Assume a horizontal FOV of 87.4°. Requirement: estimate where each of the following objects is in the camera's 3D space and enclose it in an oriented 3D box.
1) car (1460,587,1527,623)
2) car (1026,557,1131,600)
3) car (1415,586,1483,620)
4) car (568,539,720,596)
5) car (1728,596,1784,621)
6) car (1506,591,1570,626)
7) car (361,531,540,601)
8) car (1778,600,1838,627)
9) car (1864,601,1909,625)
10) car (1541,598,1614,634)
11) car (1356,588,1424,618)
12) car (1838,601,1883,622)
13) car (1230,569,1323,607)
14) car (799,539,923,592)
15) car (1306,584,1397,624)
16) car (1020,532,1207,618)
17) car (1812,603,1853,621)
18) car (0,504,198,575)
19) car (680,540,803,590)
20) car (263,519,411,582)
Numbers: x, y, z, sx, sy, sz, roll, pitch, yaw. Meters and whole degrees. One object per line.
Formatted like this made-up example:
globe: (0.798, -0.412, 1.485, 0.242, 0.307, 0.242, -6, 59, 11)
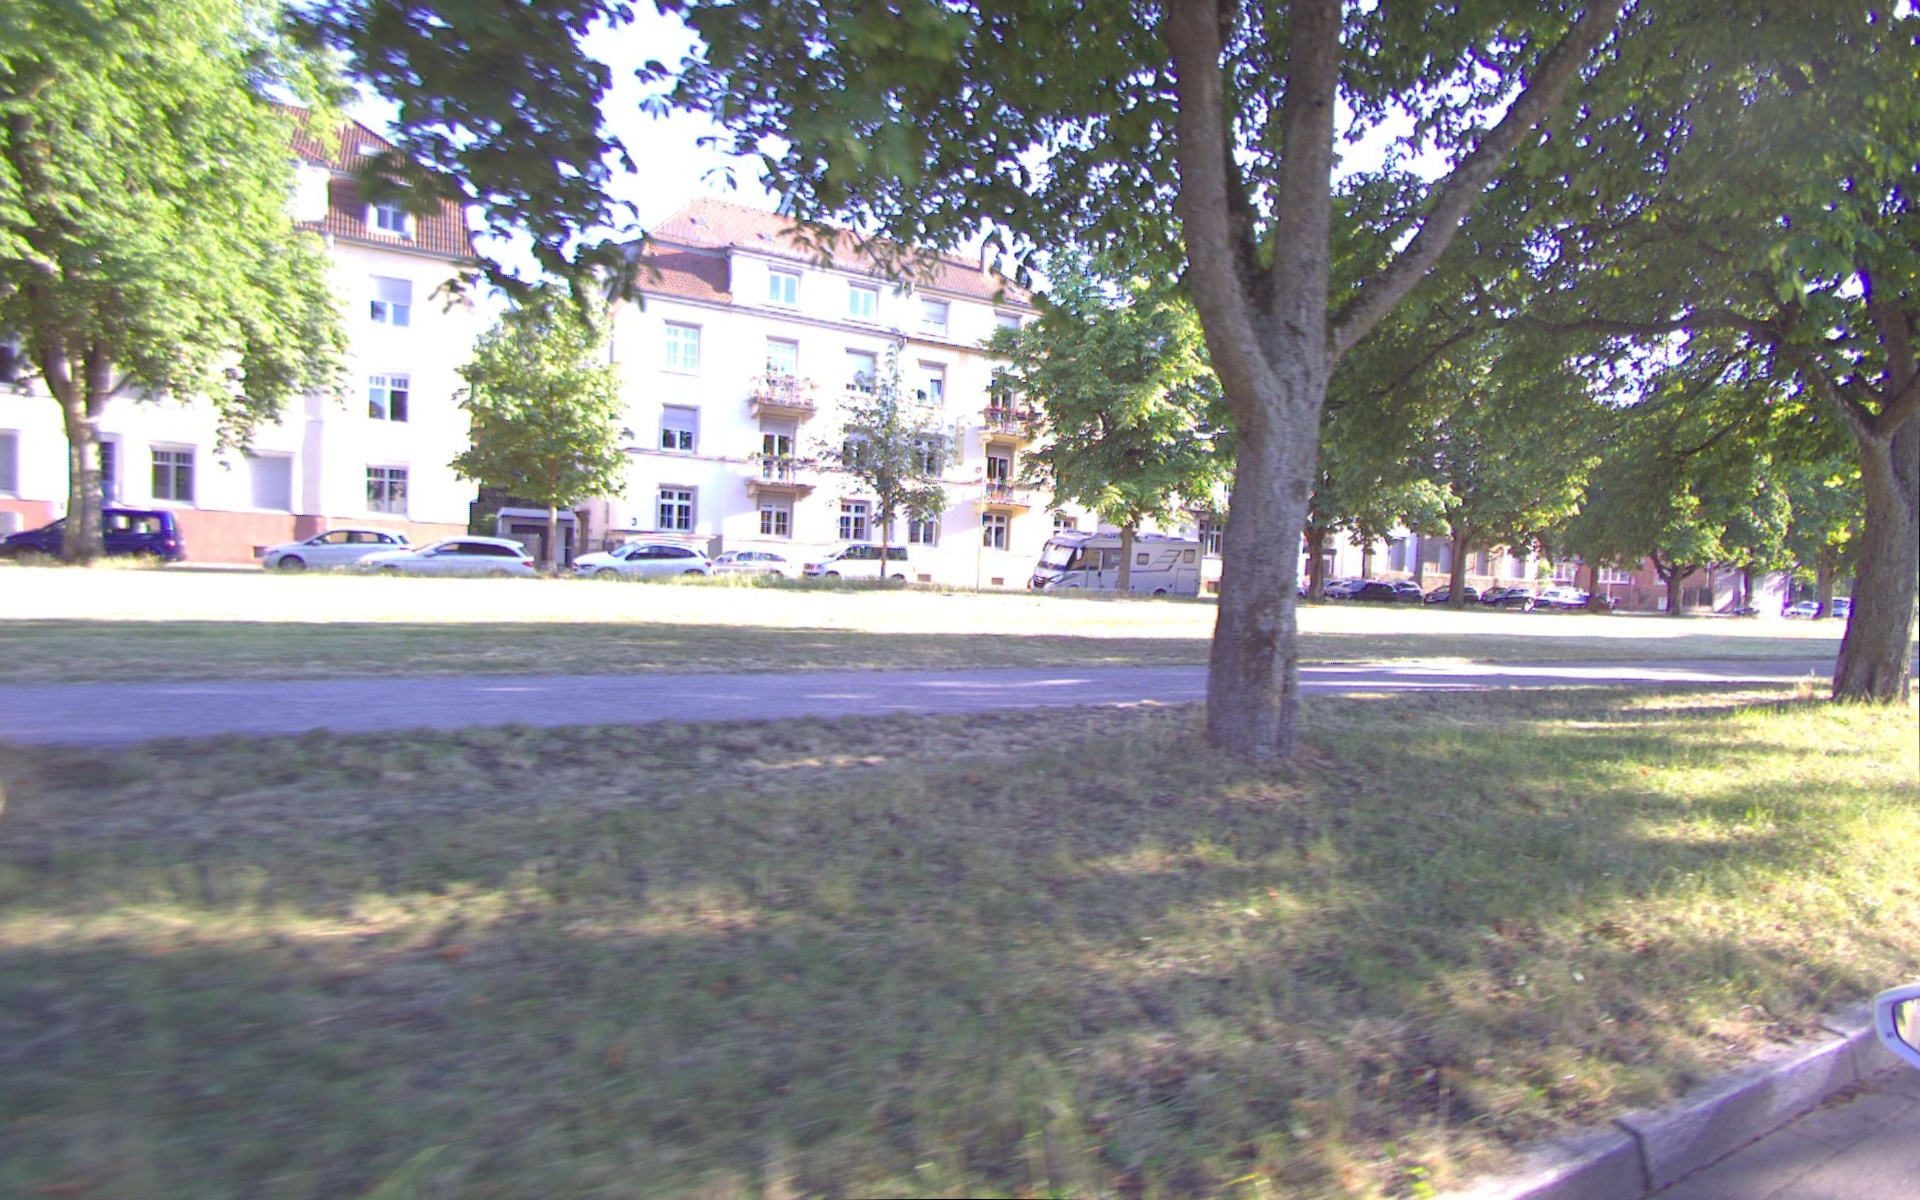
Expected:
car: (34.809, 0.346, 65.525, 3.955, 2.041, 1.983, 2, 4, -32)
car: (5.635, -1.010, 47.728, 4.514, 1.681, 1.985, 3, 4, -29)
car: (30.615, 0.212, 62.867, 3.870, 1.827, 1.855, 2, 4, -30)
car: (-10.193, -1.033, 32.464, 4.369, 1.575, 1.786, 1, 5, -32)
car: (65.553, 0.710, 82.712, 4.302, 1.681, 1.985, 3, 4, -29)
car: (39.263, 0.597, 68.242, 3.955, 2.041, 1.983, 2, 4, -32)
car: (-14.958, -0.999, 29.627, 4.514, 1.681, 1.985, 3, 4, -29)
car: (63.390, 1.008, 75.079, 3.936, 1.681, 2.013, 3, 4, -30)
car: (79.199, 1.136, 85.846, 3.836, 1.712, 1.718, 4, 4, -32)
car: (36.953, 0.956, 60.096, 4.073, 1.805, 1.803, 3, 4, -29)
car: (25.693, 0.193, 59.971, 3.748, 1.604, 1.749, 1, 5, -31)
car: (85.262, 1.108, 95.104, 3.955, 1.640, 1.983, 2, 4, -32)
car: (17.527, -0.652, 55.578, 5.103, 1.712, 1.982, 2, 4, -32)
car: (-4.196, -1.453, 42.682, 4.822, 1.976, 1.983, 2, 3, -31)
car: (19.485, 0.205, 49.964, 4.264, 1.696, 1.870, 3, 4, -30)
car: (6.516, -1.010, 42.164, 7.759, 3.173, 2.380, 1, 5, -30)
car: (79.232, 1.105, 91.249, 3.430, 1.360, 1.674, 3, 4, -30)
car: (-25.848, -1.804, 30.273, 4.259, 1.759, 1.985, 3, 4, -29)
car: (-8.656, -1.369, 39.864, 4.422, 1.663, 1.833, 2, 5, -30)
car: (-20.382, -1.624, 33.083, 3.951, 1.681, 1.985, 3, 5, -29)
